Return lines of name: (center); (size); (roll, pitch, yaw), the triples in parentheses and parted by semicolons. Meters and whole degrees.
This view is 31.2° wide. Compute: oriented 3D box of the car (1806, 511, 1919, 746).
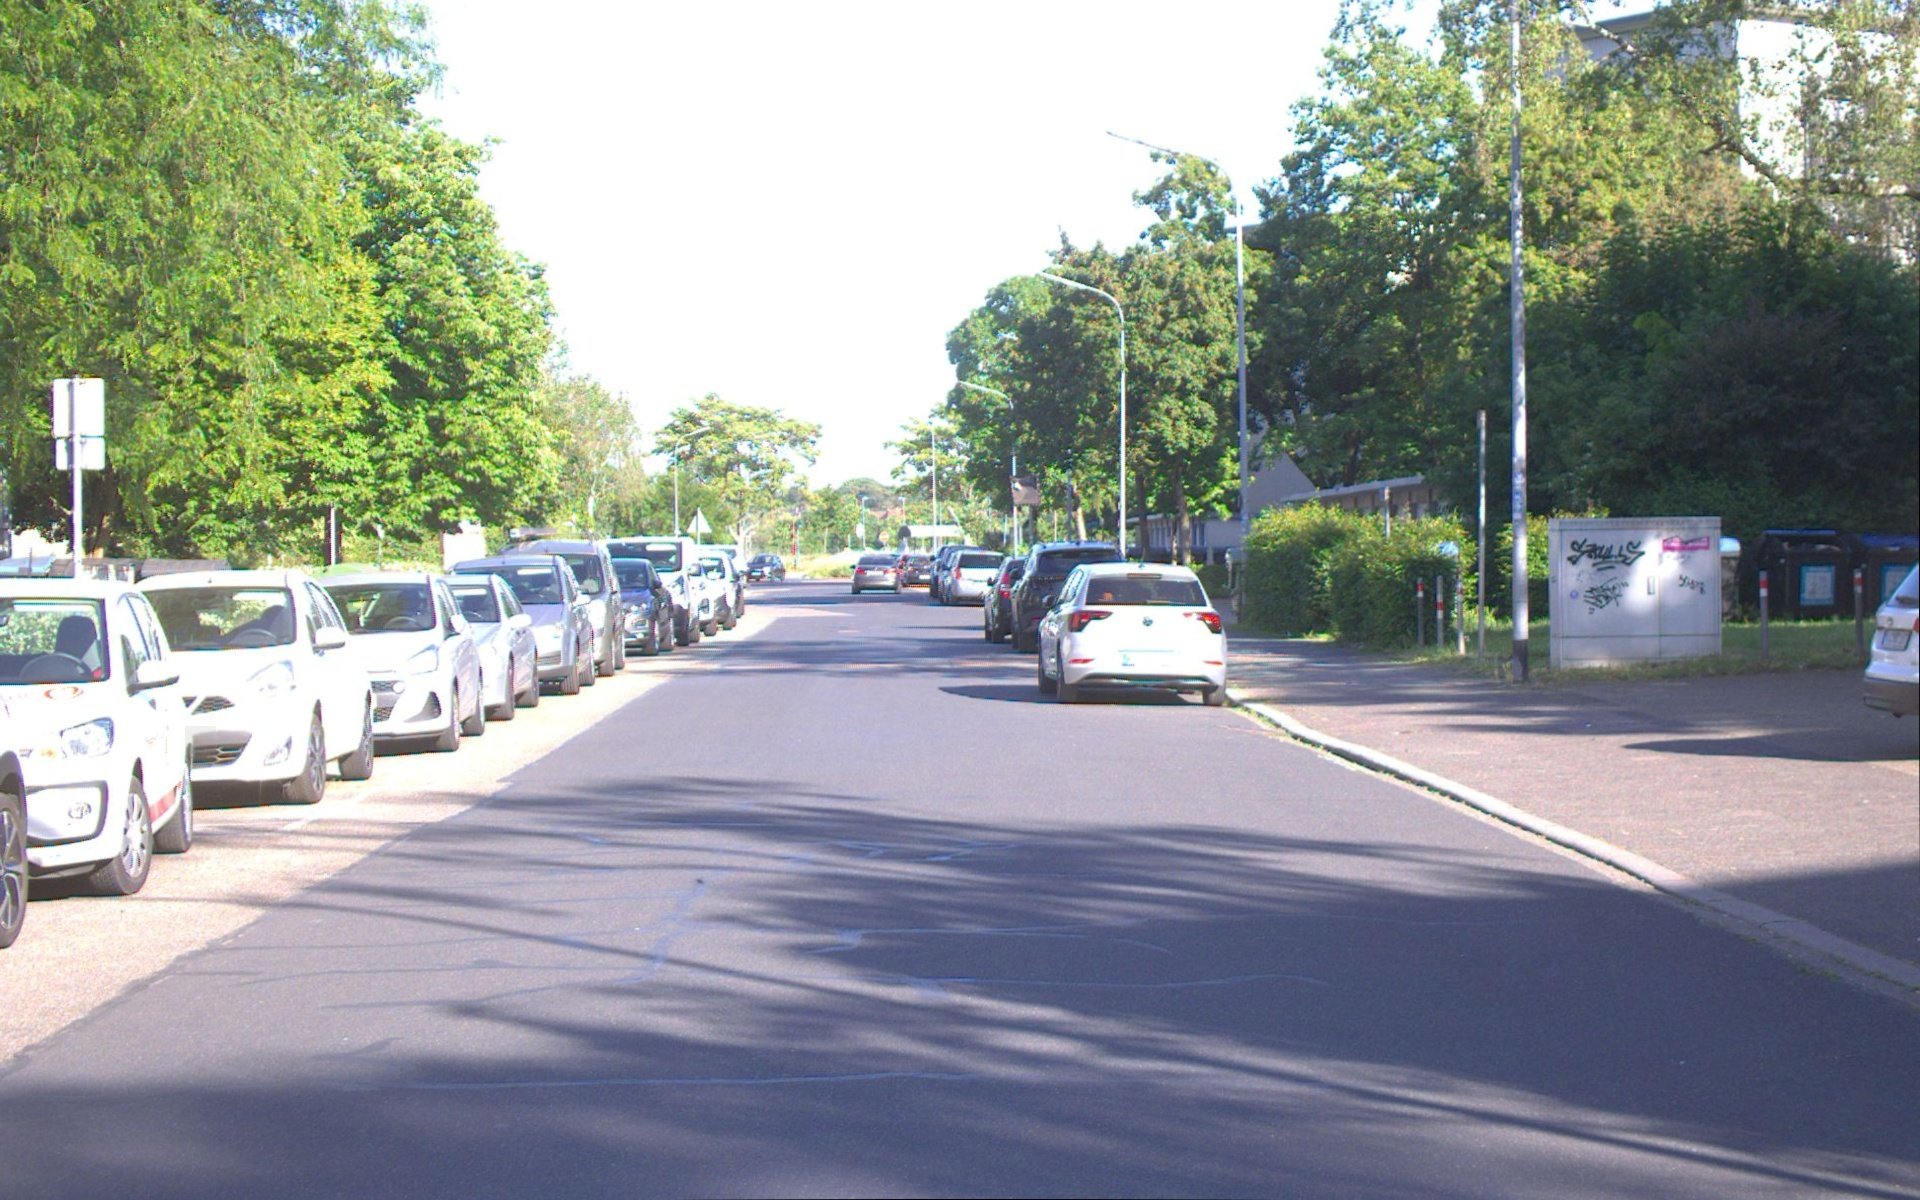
car: (8.182, 0.111, 23.268); (4.415, 1.508, 1.829); (-2, 1, -1)

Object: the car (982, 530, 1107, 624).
car: (1.385, -0.418, 58.251); (1.908, 1.525, 4.328); (0, 1, -1)

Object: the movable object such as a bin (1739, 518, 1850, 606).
movable object such as a bin: (12.921, -0.600, 53.256); (1.254, 1.348, 1.279); (0, 1, -10)

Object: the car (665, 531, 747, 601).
car: (-6.238, -0.861, 84.853); (1.746, 1.607, 4.308); (-2, 1, -1)

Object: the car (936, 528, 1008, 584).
car: (0.321, -1.269, 98.465); (1.795, 1.556, 3.952); (0, 1, -4)

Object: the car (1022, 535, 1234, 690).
car: (1.710, 0.087, 36.298); (1.753, 1.508, 4.105); (1, 1, -4)

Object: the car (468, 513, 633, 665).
car: (-5.437, -0.182, 46.090); (1.854, 1.886, 4.419); (-2, 1, -3)

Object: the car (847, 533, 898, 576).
car: (-3.250, -1.691, 127.262); (1.679, 1.508, 4.105); (1, 1, -4)

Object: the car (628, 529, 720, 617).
car: (-5.762, -0.563, 69.537); (1.746, 1.664, 4.379); (-2, 1, -4)

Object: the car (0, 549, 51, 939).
car: (-4.571, 0.612, 12.125); (1.662, 1.508, 3.946); (-2, 1, 0)

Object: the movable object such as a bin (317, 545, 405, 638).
movable object such as a bin: (-9.205, -0.143, 52.854); (1.101, 1.366, 1.361); (2, 1, -1)

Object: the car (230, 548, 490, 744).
car: (-5.016, 0.335, 29.170); (1.686, 1.500, 3.818); (-1, 1, -3)

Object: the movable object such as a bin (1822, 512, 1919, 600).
movable object such as a bin: (14.352, -0.699, 53.785); (1.254, 1.348, 1.279); (0, 1, -12)

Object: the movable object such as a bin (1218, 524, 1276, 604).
movable object such as a bin: (5.292, -0.662, 63.354); (0.917, 1.449, 1.233); (-1, 1, -1)

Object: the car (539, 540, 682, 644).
car: (-5.546, -0.166, 54.975); (1.746, 1.528, 4.139); (-2, 1, 1)

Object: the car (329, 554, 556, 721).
car: (-5.155, 0.320, 34.724); (1.686, 1.460, 4.526); (-3, 1, -2)

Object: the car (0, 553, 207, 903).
car: (-4.704, 0.554, 16.806); (1.662, 1.508, 3.539); (-2, 1, -8)

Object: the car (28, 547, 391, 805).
car: (-4.975, 0.440, 23.274); (1.686, 1.529, 3.891); (-2, 1, -2)

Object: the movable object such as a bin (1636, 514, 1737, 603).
movable object such as a bin: (11.215, -0.649, 53.102); (1.254, 1.348, 1.279); (0, 1, -2)

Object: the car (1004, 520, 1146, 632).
car: (1.703, -0.396, 52.366); (1.908, 1.634, 4.629); (0, 1, -1)

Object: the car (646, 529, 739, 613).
car: (-5.825, -0.664, 75.204); (1.746, 1.726, 4.006); (-2, 1, -1)

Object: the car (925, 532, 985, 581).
car: (-0.189, -1.519, 118.894); (1.795, 1.638, 3.952); (0, 1, -4)

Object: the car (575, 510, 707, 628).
car: (-5.655, -0.584, 61.508); (1.915, 1.956, 5.088); (-2, 1, -1)

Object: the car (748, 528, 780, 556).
car: (-11.101, -3.305, 194.642); (1.795, 1.556, 3.952); (0, 1, -4)

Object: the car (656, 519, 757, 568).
car: (-10.377, -2.311, 140.611); (4.053, 1.985, 1.802); (0, 1, -6)

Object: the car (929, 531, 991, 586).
car: (-0.022, -1.402, 114.324); (1.795, 1.780, 3.952); (0, 1, -4)

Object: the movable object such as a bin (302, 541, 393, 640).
movable object such as a bin: (-9.140, -0.157, 51.383); (1.101, 1.416, 1.361); (2, 1, -1)

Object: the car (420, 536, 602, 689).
car: (-5.169, 0.098, 39.975); (1.709, 1.595, 3.986); (-3, 1, -3)

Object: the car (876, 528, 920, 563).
car: (-2.793, -2.437, 153.666); (1.795, 1.543, 3.952); (0, 1, -4)
